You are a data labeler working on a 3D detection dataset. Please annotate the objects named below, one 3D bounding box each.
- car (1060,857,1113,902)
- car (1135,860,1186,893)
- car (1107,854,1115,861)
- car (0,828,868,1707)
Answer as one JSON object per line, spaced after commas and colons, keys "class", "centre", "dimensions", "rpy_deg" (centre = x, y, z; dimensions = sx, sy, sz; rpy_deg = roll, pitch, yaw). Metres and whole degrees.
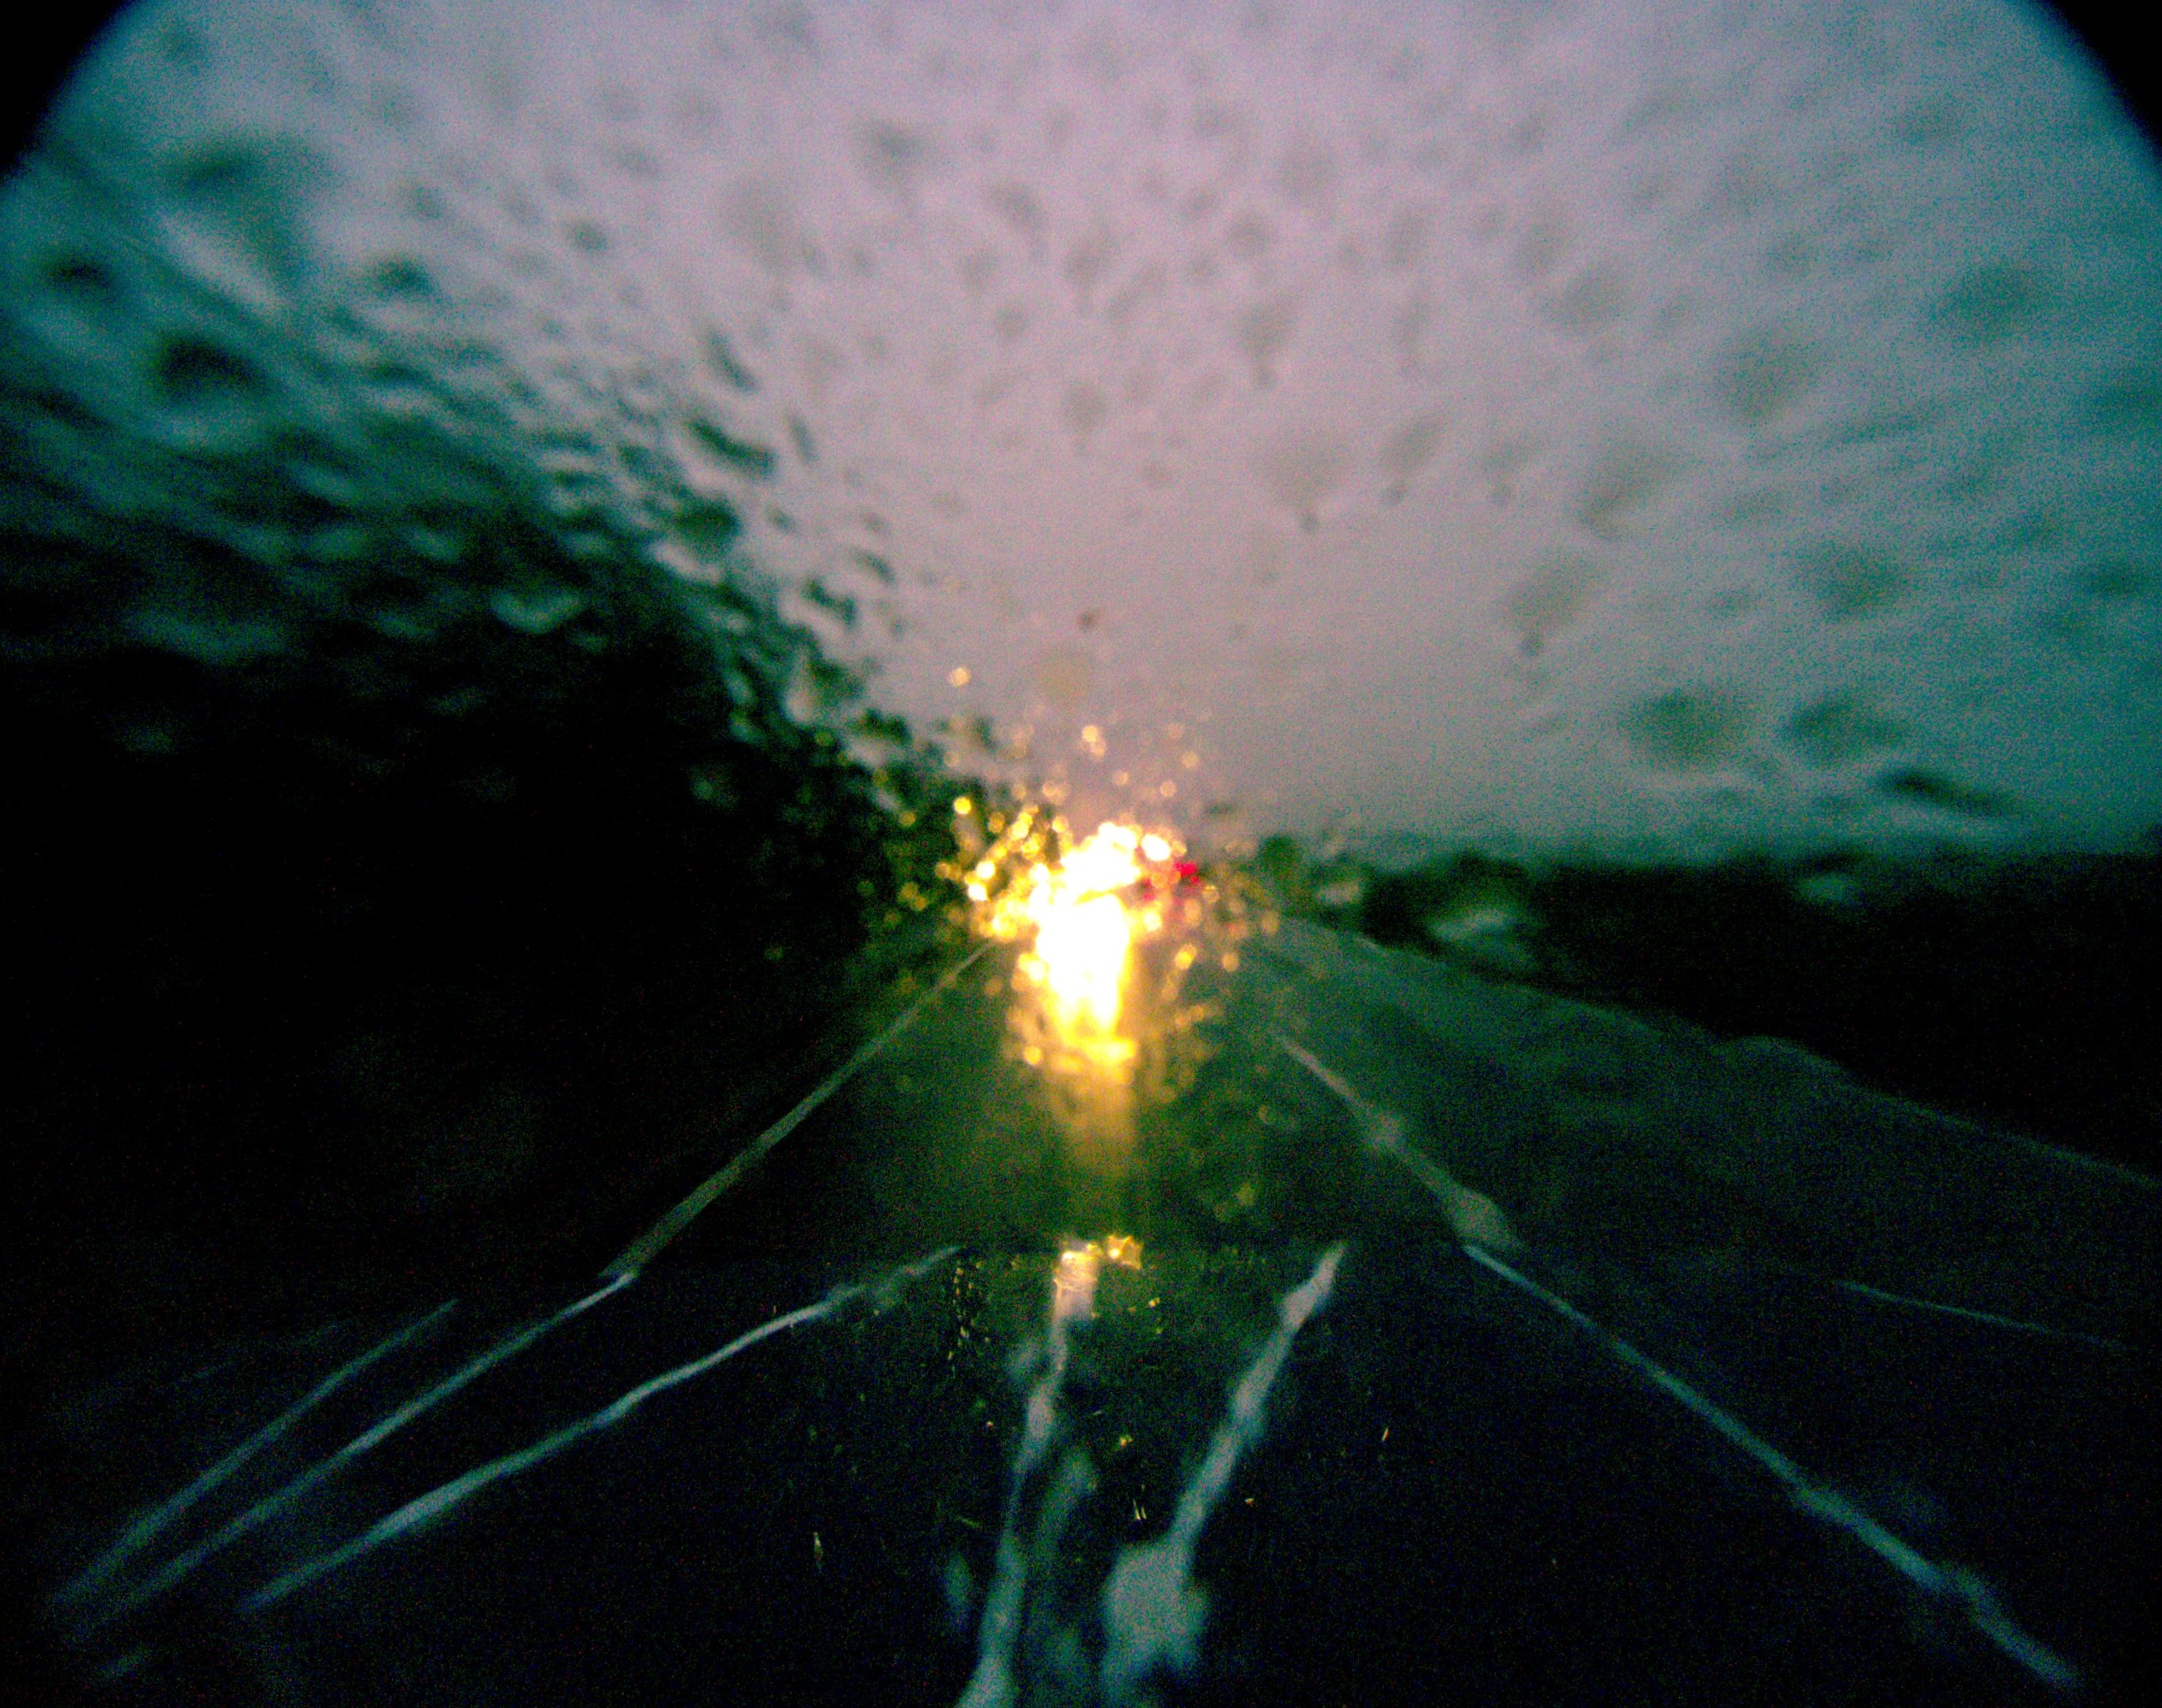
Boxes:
{"class": "car", "centre": [0.189, 0.923, 29.247], "dimensions": [1.844, 1.484, 3.955], "rpy_deg": [-2, 1, 0]}
{"class": "car", "centre": [3.732, 1.026, 36.222], "dimensions": [1.998, 1.364, 4.397], "rpy_deg": [-2, 1, 1]}
{"class": "car", "centre": [7.492, 0.782, 188.696], "dimensions": [1.733, 1.637, 4.261], "rpy_deg": [2, 0, 1]}
{"class": "car", "centre": [-2.028, 0.865, 1.588], "dimensions": [1.933, 1.740, 4.000], "rpy_deg": [-2, 1, 1]}
